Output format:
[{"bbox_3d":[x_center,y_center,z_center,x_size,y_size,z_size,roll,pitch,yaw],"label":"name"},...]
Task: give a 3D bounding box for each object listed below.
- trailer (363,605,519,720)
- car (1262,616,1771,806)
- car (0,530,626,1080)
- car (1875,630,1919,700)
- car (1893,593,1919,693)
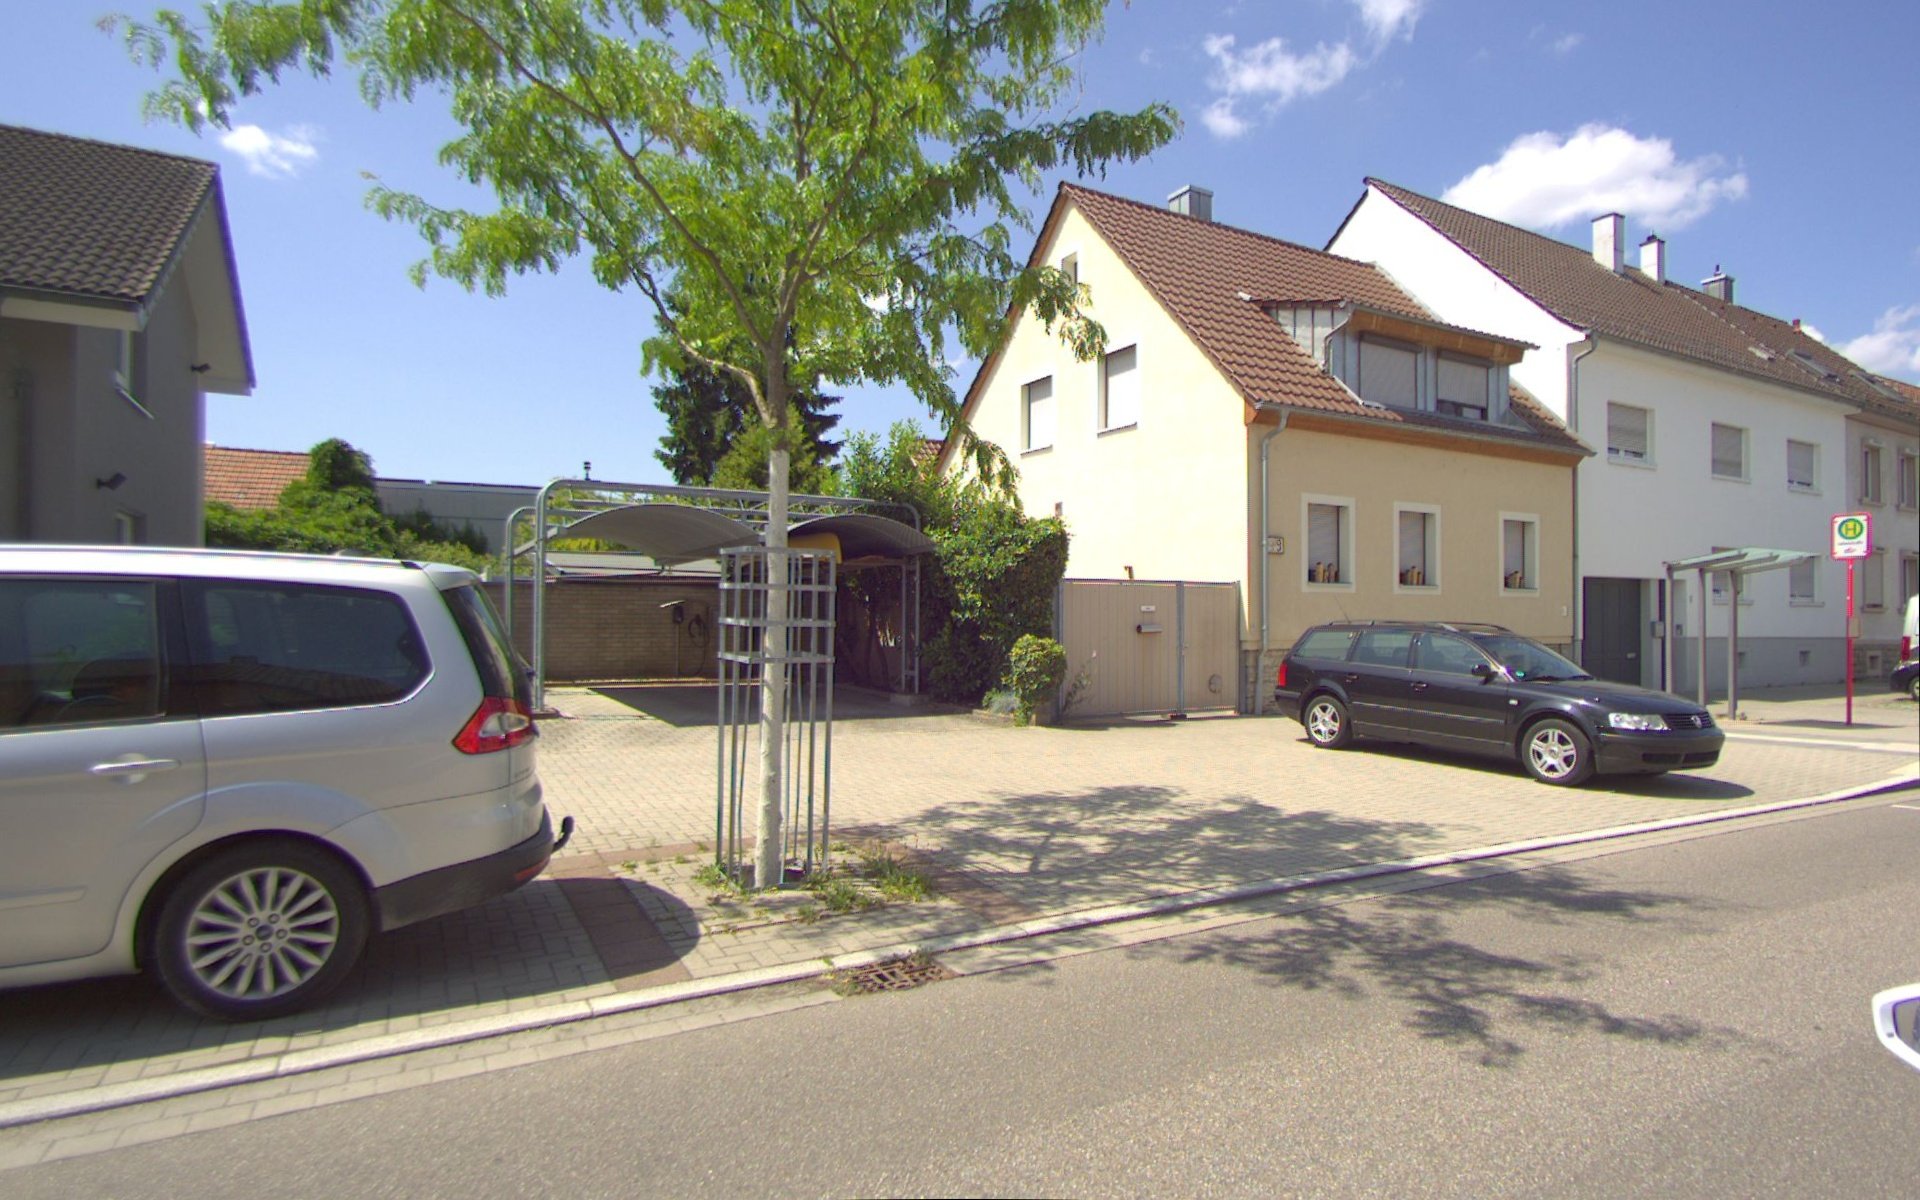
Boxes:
[{"bbox_3d":[-7.681,0.826,14.714,1.570,1.407,3.608,2,0,-34],"label":"trailer"},{"bbox_3d":[5.670,0.982,10.934,1.878,1.537,4.567,1,0,-29],"label":"car"},{"bbox_3d":[-3.835,0.652,3.860,4.627,1.771,1.832,0,1,-28],"label":"car"},{"bbox_3d":[21.650,1.391,20.557,1.880,1.465,3.966,1,-1,-31],"label":"car"},{"bbox_3d":[24.168,1.036,21.948,2.132,2.319,5.140,1,0,-31],"label":"car"}]
